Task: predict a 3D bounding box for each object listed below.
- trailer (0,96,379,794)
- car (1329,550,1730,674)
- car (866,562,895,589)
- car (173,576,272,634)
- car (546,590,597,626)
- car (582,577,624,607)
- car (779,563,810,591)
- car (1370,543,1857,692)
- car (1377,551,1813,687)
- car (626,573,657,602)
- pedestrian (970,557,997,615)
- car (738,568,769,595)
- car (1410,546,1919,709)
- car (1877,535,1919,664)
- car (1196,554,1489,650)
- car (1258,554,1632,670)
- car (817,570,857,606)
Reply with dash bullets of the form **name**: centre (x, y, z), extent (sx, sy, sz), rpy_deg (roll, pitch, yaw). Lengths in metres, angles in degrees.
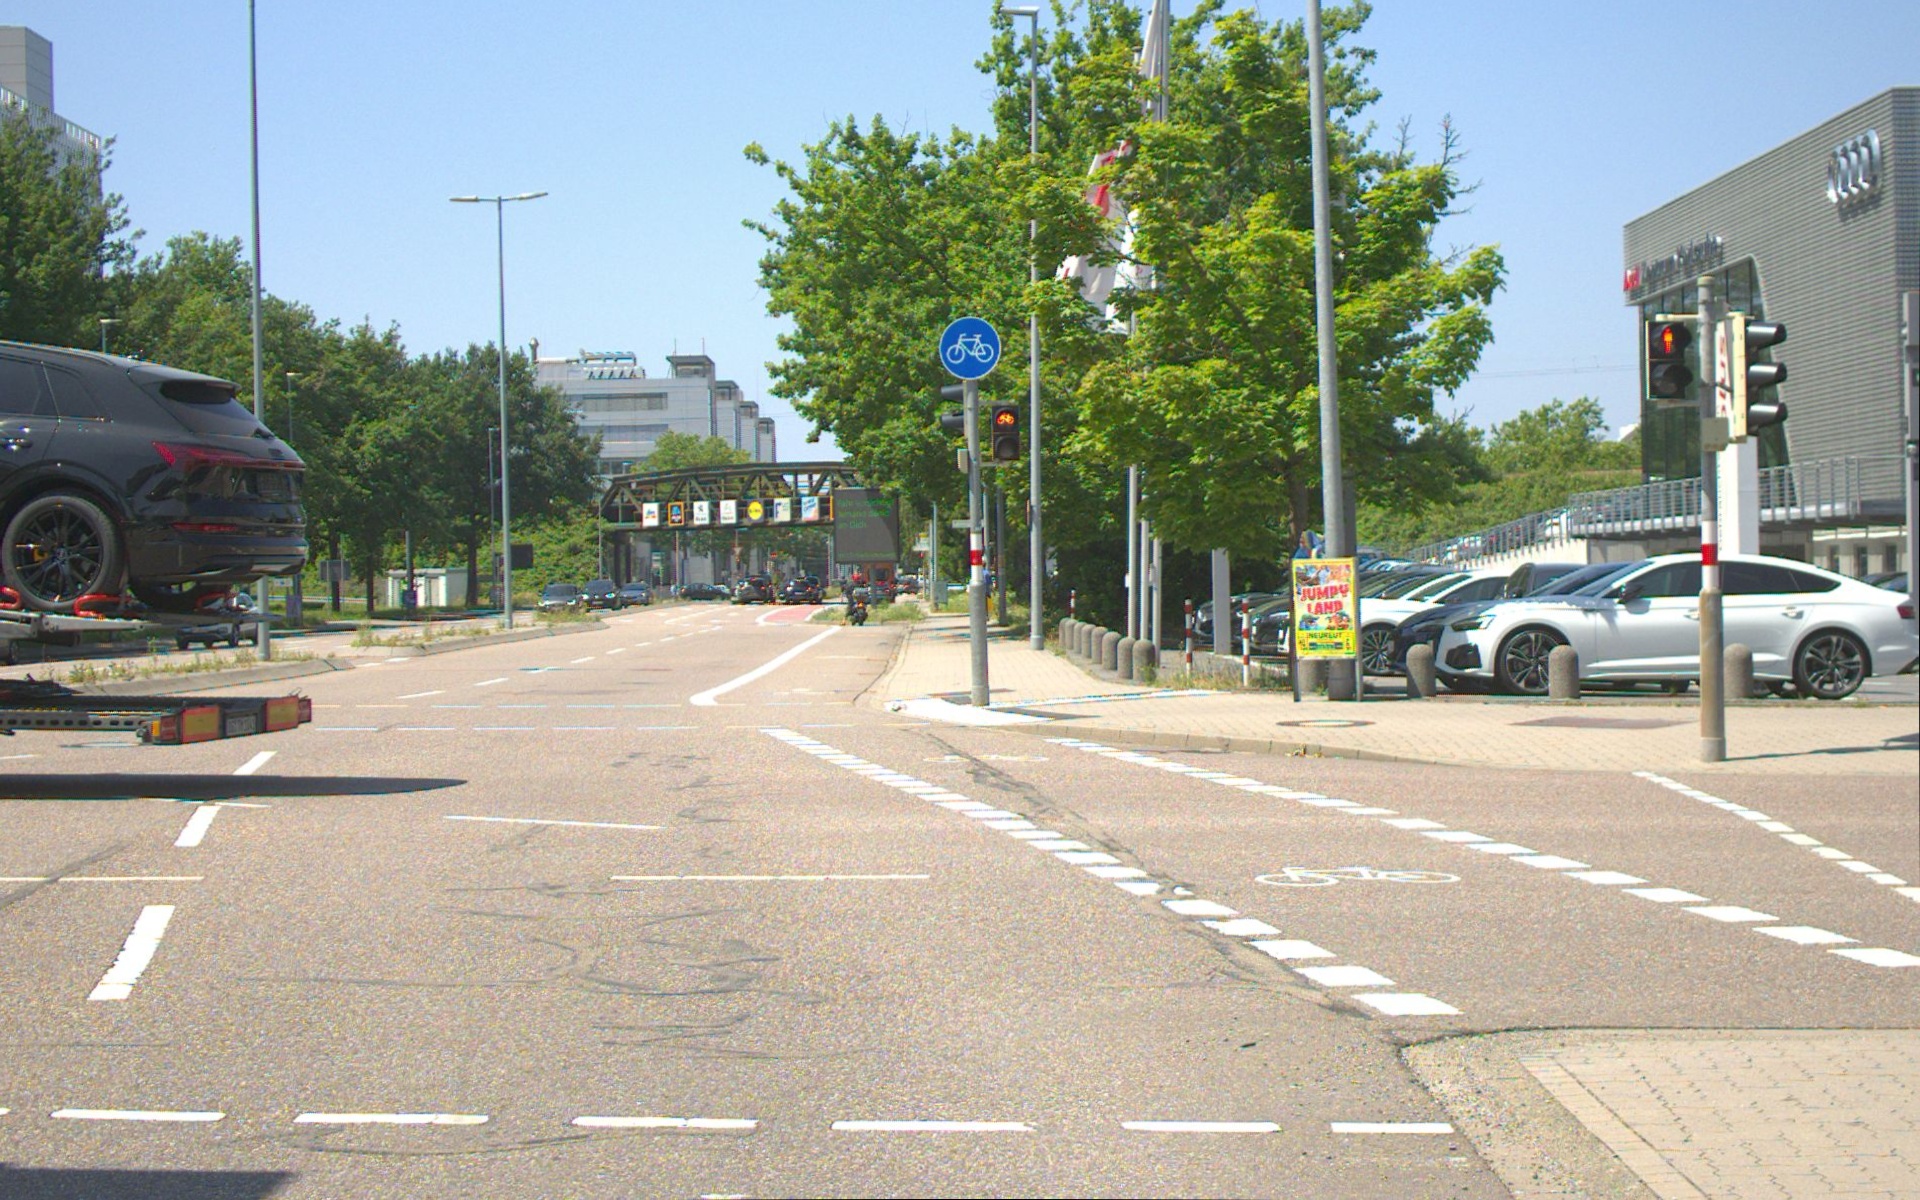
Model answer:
- **trailer**: centre (-8.901, -0.889, 22.306), extent (9.615, 4.067, 3.093), rpy_deg (0, 0, 9)
- **car**: centre (7.238, 0.137, 43.983), extent (4.741, 1.452, 2.000), rpy_deg (-1, 1, -2)
- **car**: centre (-5.093, -1.572, 220.979), extent (1.772, 1.722, 4.000), rpy_deg (-1, 0, -1)
- **car**: centre (-22.082, 0.139, 103.092), extent (1.927, 1.659, 4.088), rpy_deg (-1, 0, 2)
- **car**: centre (-16.477, 0.347, 145.975), extent (1.732, 1.422, 3.706), rpy_deg (-3, 0, -1)
- **car**: centre (-17.434, -0.374, 167.917), extent (1.684, 1.406, 3.665), rpy_deg (-1, 0, -1)
- **car**: centre (-10.605, -1.452, 220.479), extent (1.772, 1.722, 4.000), rpy_deg (-1, 0, -1)
- **car**: centre (6.794, 0.187, 36.122), extent (4.741, 1.452, 2.000), rpy_deg (-1, 0, 2)
- **car**: centre (7.352, 0.204, 40.156), extent (4.741, 1.452, 2.000), rpy_deg (-1, 1, 2)
- **car**: centre (-18.896, -0.735, 203.935), extent (1.648, 1.647, 4.164), rpy_deg (-1, 1, -3)
- **pedestrian**: centre (0.611, -0.361, 89.707), extent (0.668, 1.505, 0.736), rpy_deg (-1, 1, -1)
- **car**: centre (-13.433, -1.190, 224.036), extent (1.772, 1.722, 4.000), rpy_deg (-1, 0, -1)
- **car**: centre (6.861, 0.248, 33.360), extent (4.741, 1.452, 2.000), rpy_deg (-1, 1, 2)
- **car**: centre (16.829, -0.055, 54.572), extent (3.987, 2.007, 2.000), rpy_deg (-1, 1, 1)
- **car**: centre (6.550, 0.017, 59.185), extent (4.741, 1.452, 2.000), rpy_deg (-2, 1, -2)
- **car**: centre (6.546, 0.148, 46.749), extent (4.741, 1.452, 2.000), rpy_deg (-1, 1, -2)
- **car**: centre (-3.767, -0.376, 105.389), extent (1.137, 1.038, 2.308), rpy_deg (-1, 1, -1)
